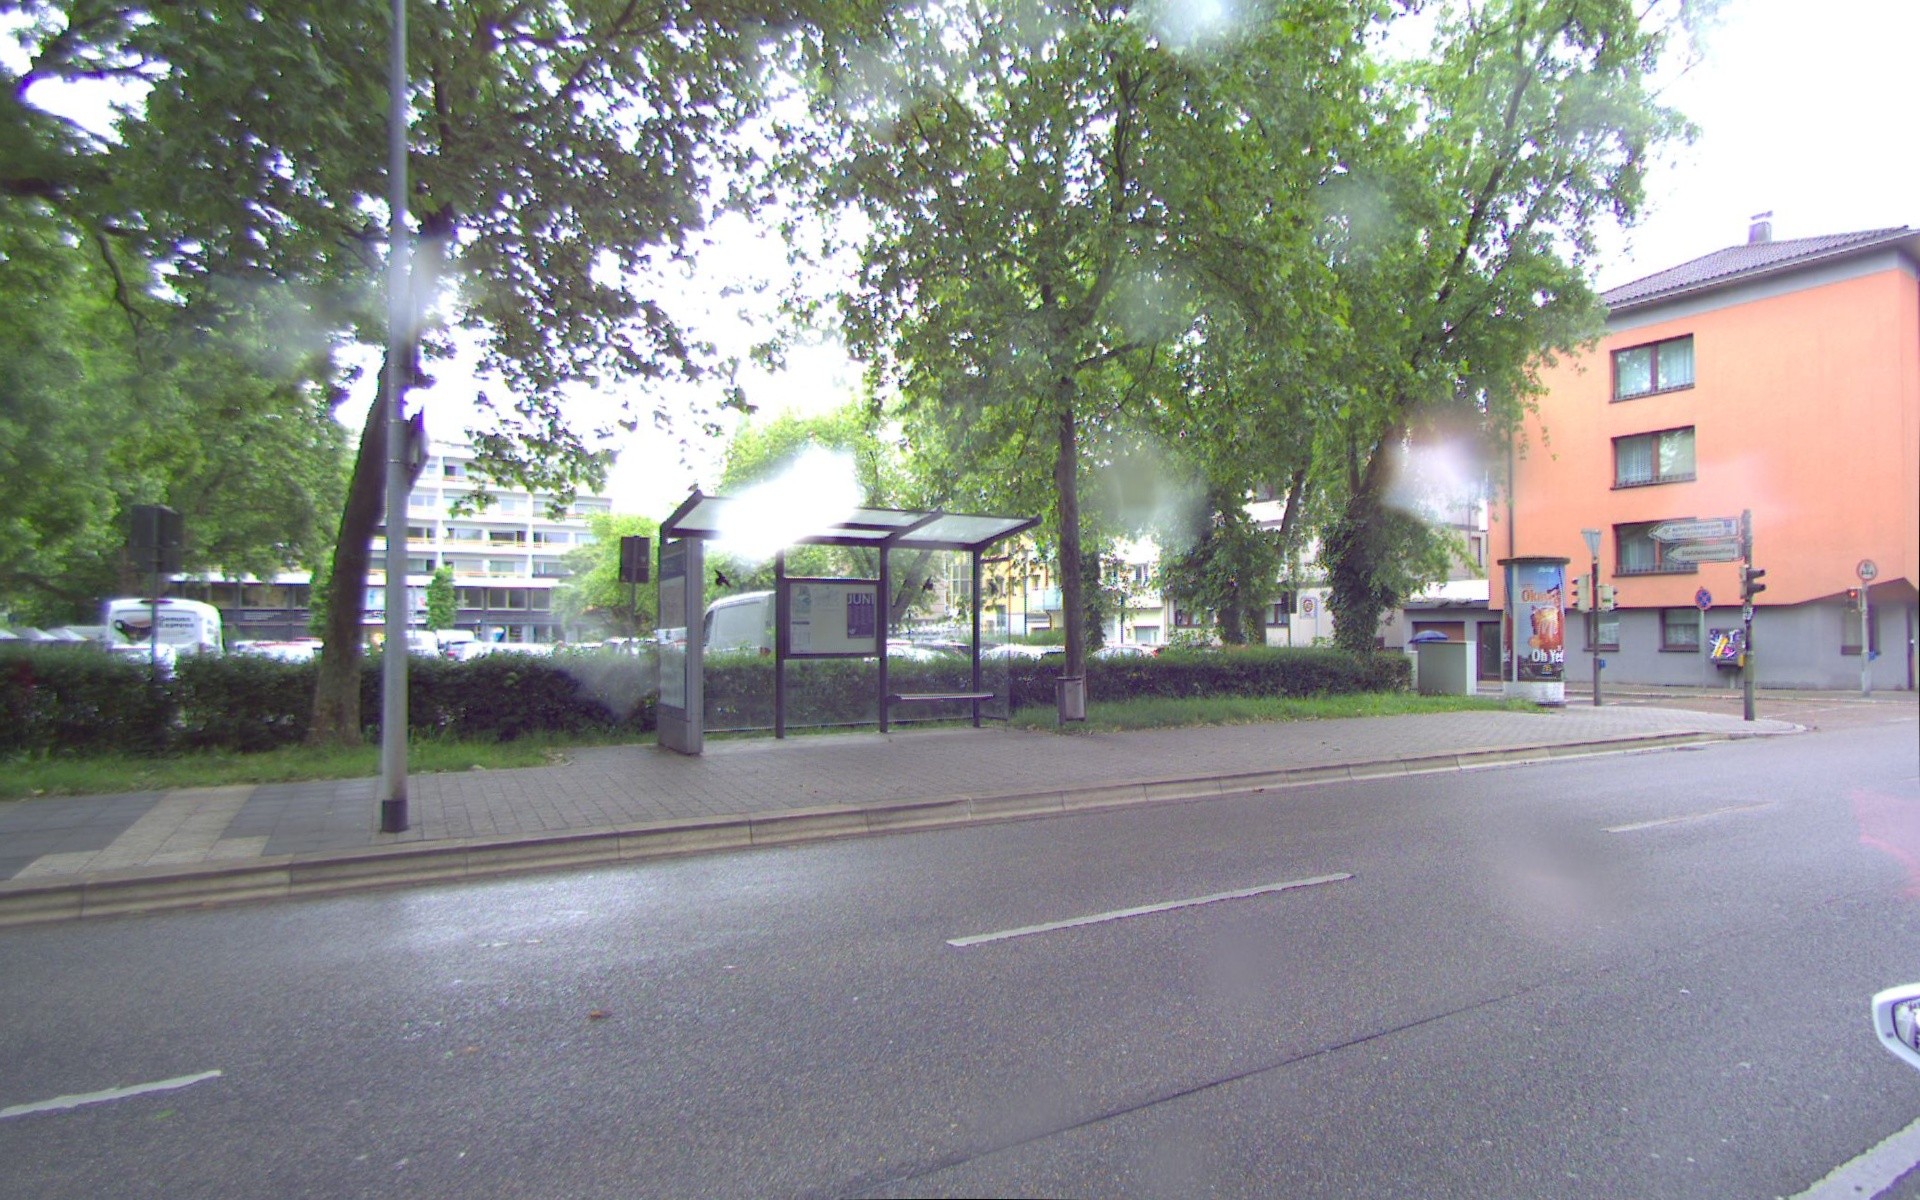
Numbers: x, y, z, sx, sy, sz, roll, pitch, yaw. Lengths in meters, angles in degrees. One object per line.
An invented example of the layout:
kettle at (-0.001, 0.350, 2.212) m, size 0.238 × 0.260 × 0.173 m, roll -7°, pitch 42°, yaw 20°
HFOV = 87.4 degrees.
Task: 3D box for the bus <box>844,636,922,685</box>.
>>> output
bus at (-2.459, 1.876, 31.546) m, size 1.364 × 1.451 × 2.777 m, roll 2°, pitch -3°, yaw -30°

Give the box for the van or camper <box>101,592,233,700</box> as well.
van or camper at (-20.694, 1.201, 26.421) m, size 2.074 × 2.570 × 4.392 m, roll 1°, pitch -3°, yaw -30°

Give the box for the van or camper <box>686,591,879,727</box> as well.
van or camper at (-3.426, 1.056, 18.690) m, size 2.026 × 2.198 × 4.458 m, roll 2°, pitch -3°, yaw -32°

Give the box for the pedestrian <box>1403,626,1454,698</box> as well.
pedestrian at (12.098, 1.584, 25.924) m, size 0.978 × 1.765 × 1.206 m, roll 1°, pitch 0°, yaw 34°

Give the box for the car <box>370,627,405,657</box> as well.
car at (-33.039, 2.400, 57.913) m, size 1.622 × 1.544 × 3.174 m, roll 1°, pitch 1°, yaw -32°

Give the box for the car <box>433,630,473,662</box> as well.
car at (-27.293, 2.454, 54.068) m, size 1.622 × 1.544 × 3.174 m, roll 2°, pitch 0°, yaw -32°

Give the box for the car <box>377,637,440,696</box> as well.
car at (-14.729, 1.742, 26.848) m, size 1.375 × 1.454 × 3.248 m, roll 1°, pitch -3°, yaw -29°

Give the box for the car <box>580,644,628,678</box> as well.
car at (-15.193, 2.579, 42.826) m, size 1.332 × 1.401 × 3.141 m, roll 2°, pitch -3°, yaw -30°

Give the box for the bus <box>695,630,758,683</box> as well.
bus at (-7.826, 1.864, 33.520) m, size 1.363 × 1.698 × 2.779 m, roll 1°, pitch -3°, yaw -28°

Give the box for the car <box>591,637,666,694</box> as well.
car at (-9.108, 1.754, 27.502) m, size 1.375 × 1.454 × 3.248 m, roll 1°, pitch -3°, yaw -29°

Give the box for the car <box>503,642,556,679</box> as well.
car at (-17.692, 2.453, 41.235) m, size 1.587 × 1.447 × 3.293 m, roll 2°, pitch -3°, yaw -30°

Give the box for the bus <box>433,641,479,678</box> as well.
bus at (-22.368, 2.610, 44.568) m, size 1.587 × 1.559 × 3.403 m, roll 2°, pitch -3°, yaw -30°

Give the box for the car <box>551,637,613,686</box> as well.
car at (-11.954, 1.929, 31.679) m, size 1.375 × 1.454 × 3.248 m, roll 1°, pitch -3°, yaw -29°

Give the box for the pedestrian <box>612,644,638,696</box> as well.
pedestrian at (-8.149, 1.691, 24.415) m, size 0.462 × 1.229 × 0.434 m, roll 2°, pitch 0°, yaw -37°

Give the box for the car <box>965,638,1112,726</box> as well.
car at (1.588, 1.657, 21.168) m, size 1.492 × 1.544 × 3.174 m, roll 2°, pitch 0°, yaw -32°

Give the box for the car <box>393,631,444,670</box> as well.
car at (-20.896, 1.945, 38.685) m, size 1.587 × 1.447 × 3.293 m, roll 2°, pitch -3°, yaw -30°

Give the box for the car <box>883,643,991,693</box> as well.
car at (-0.829, 2.224, 33.515) m, size 1.799 × 1.536 × 3.965 m, roll 2°, pitch -3°, yaw -33°

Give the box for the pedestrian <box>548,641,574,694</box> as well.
pedestrian at (-9.564, 1.604, 24.056) m, size 0.462 × 1.229 × 0.434 m, roll 2°, pitch 0°, yaw -37°

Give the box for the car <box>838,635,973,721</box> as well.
car at (-1.207, 1.573, 21.185) m, size 1.492 × 1.544 × 3.174 m, roll 2°, pitch 0°, yaw -32°

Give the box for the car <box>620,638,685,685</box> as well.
car at (-9.989, 1.968, 32.472) m, size 1.375 × 1.454 × 3.248 m, roll 1°, pitch -3°, yaw -29°

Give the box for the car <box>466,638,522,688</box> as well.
car at (-14.538, 1.926, 31.279) m, size 1.375 × 1.454 × 3.248 m, roll 1°, pitch -3°, yaw -29°

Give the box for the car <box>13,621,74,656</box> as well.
car at (-40.859, 1.692, 44.848) m, size 1.412 × 1.447 × 2.941 m, roll 1°, pitch 0°, yaw -30°

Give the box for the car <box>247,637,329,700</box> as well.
car at (-16.507, 1.649, 24.787) m, size 1.375 × 1.454 × 3.248 m, roll 1°, pitch -3°, yaw -29°

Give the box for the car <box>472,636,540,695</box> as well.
car at (-12.086, 1.709, 26.646) m, size 1.375 × 1.454 × 3.248 m, roll 1°, pitch -3°, yaw -29°

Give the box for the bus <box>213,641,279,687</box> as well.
bus at (-25.581, 2.273, 36.075) m, size 1.587 × 1.559 × 3.403 m, roll 2°, pitch -3°, yaw -30°

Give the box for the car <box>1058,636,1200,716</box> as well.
car at (3.808, 1.682, 23.038) m, size 1.492 × 1.544 × 3.174 m, roll 2°, pitch 0°, yaw -32°
